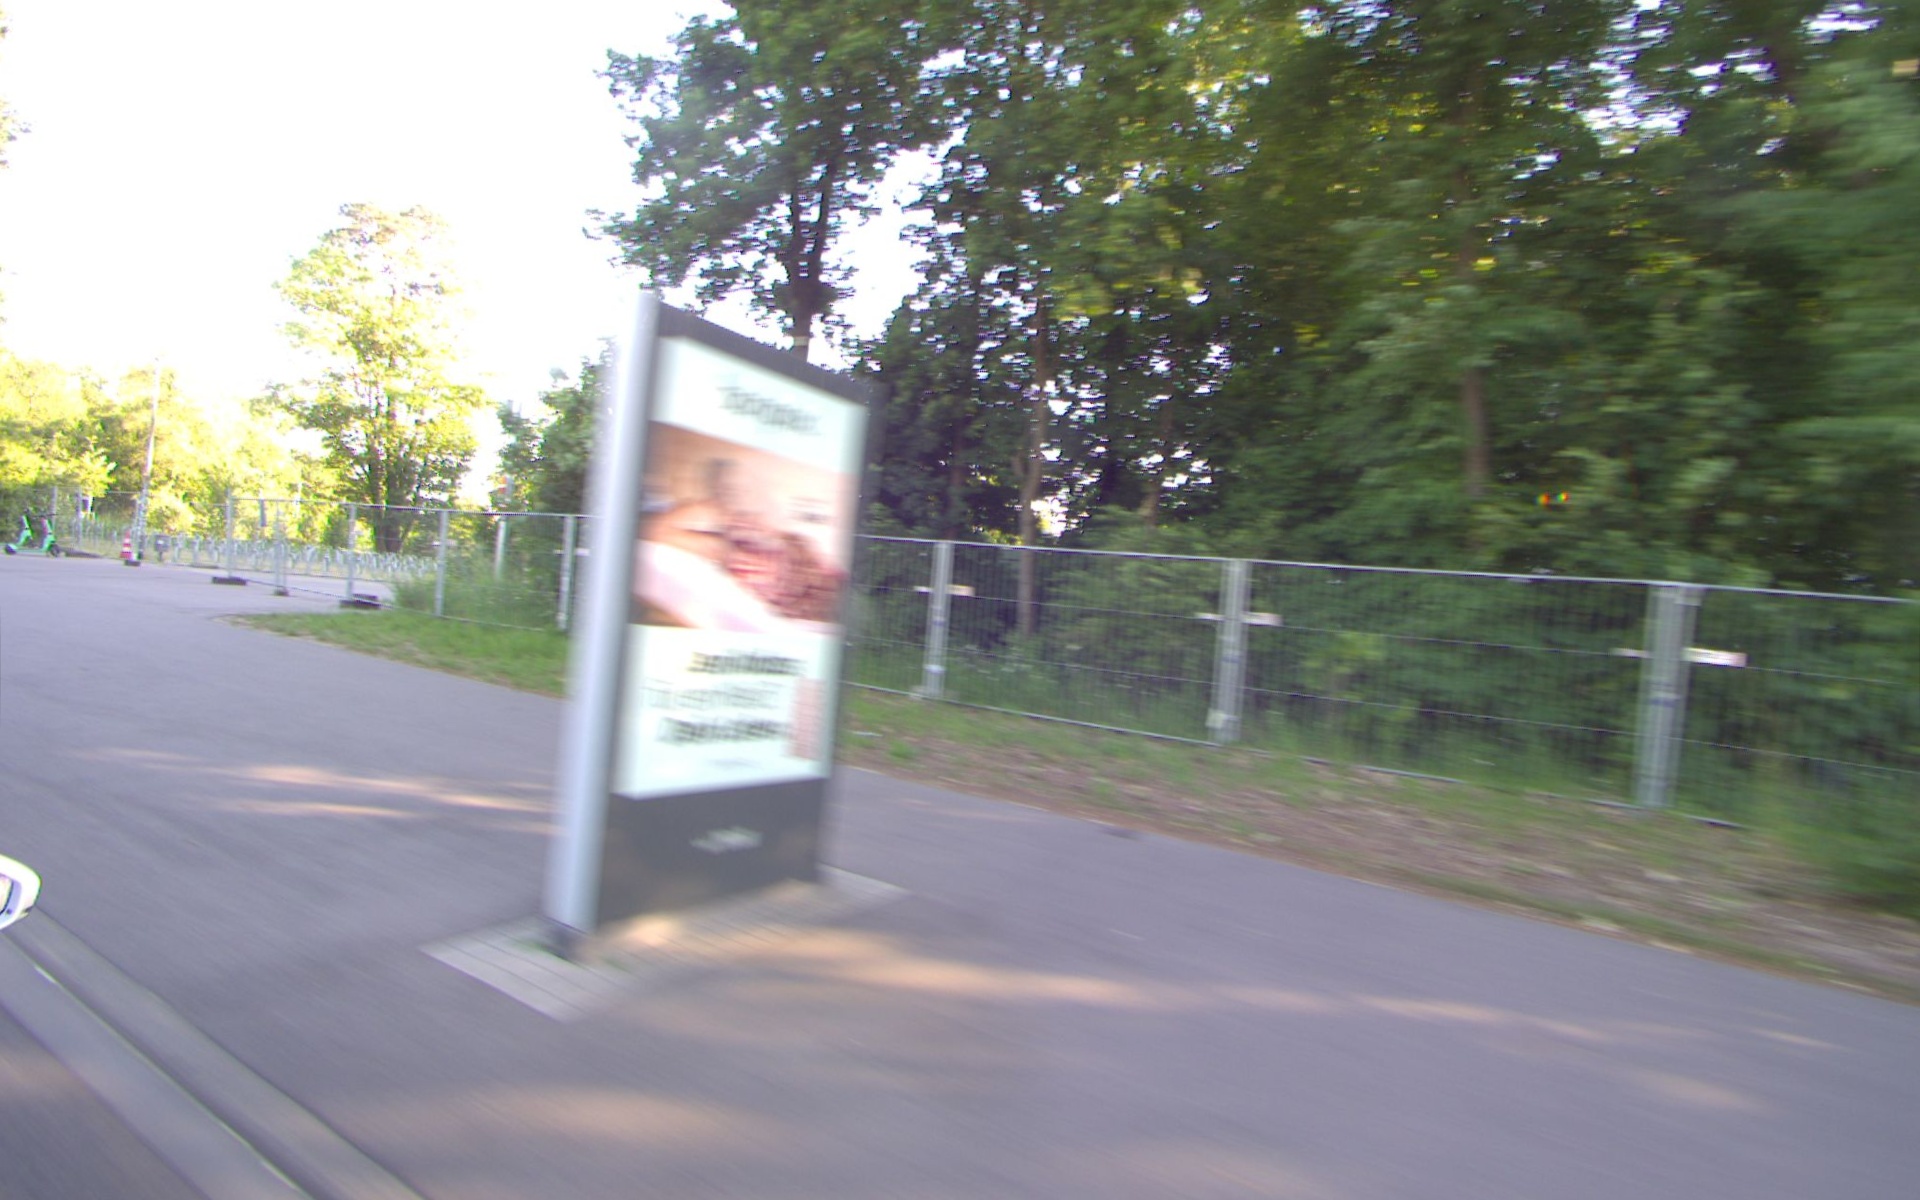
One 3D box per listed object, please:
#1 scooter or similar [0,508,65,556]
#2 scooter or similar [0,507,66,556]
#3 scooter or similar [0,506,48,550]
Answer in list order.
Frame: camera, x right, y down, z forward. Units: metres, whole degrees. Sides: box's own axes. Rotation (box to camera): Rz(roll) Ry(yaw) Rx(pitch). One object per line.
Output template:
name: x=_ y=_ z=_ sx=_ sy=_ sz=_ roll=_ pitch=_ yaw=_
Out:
scooter or similar: x=-25.210 y=-1.837 z=27.339 sx=0.388 sy=1.161 sz=1.263 roll=5 pitch=0 yaw=40
scooter or similar: x=-25.636 y=-1.880 z=27.838 sx=1.235 sy=1.181 sz=0.391 roll=5 pitch=0 yaw=-33
scooter or similar: x=-27.893 y=-2.132 z=29.625 sx=1.426 sy=1.181 sz=0.391 roll=5 pitch=0 yaw=-29
